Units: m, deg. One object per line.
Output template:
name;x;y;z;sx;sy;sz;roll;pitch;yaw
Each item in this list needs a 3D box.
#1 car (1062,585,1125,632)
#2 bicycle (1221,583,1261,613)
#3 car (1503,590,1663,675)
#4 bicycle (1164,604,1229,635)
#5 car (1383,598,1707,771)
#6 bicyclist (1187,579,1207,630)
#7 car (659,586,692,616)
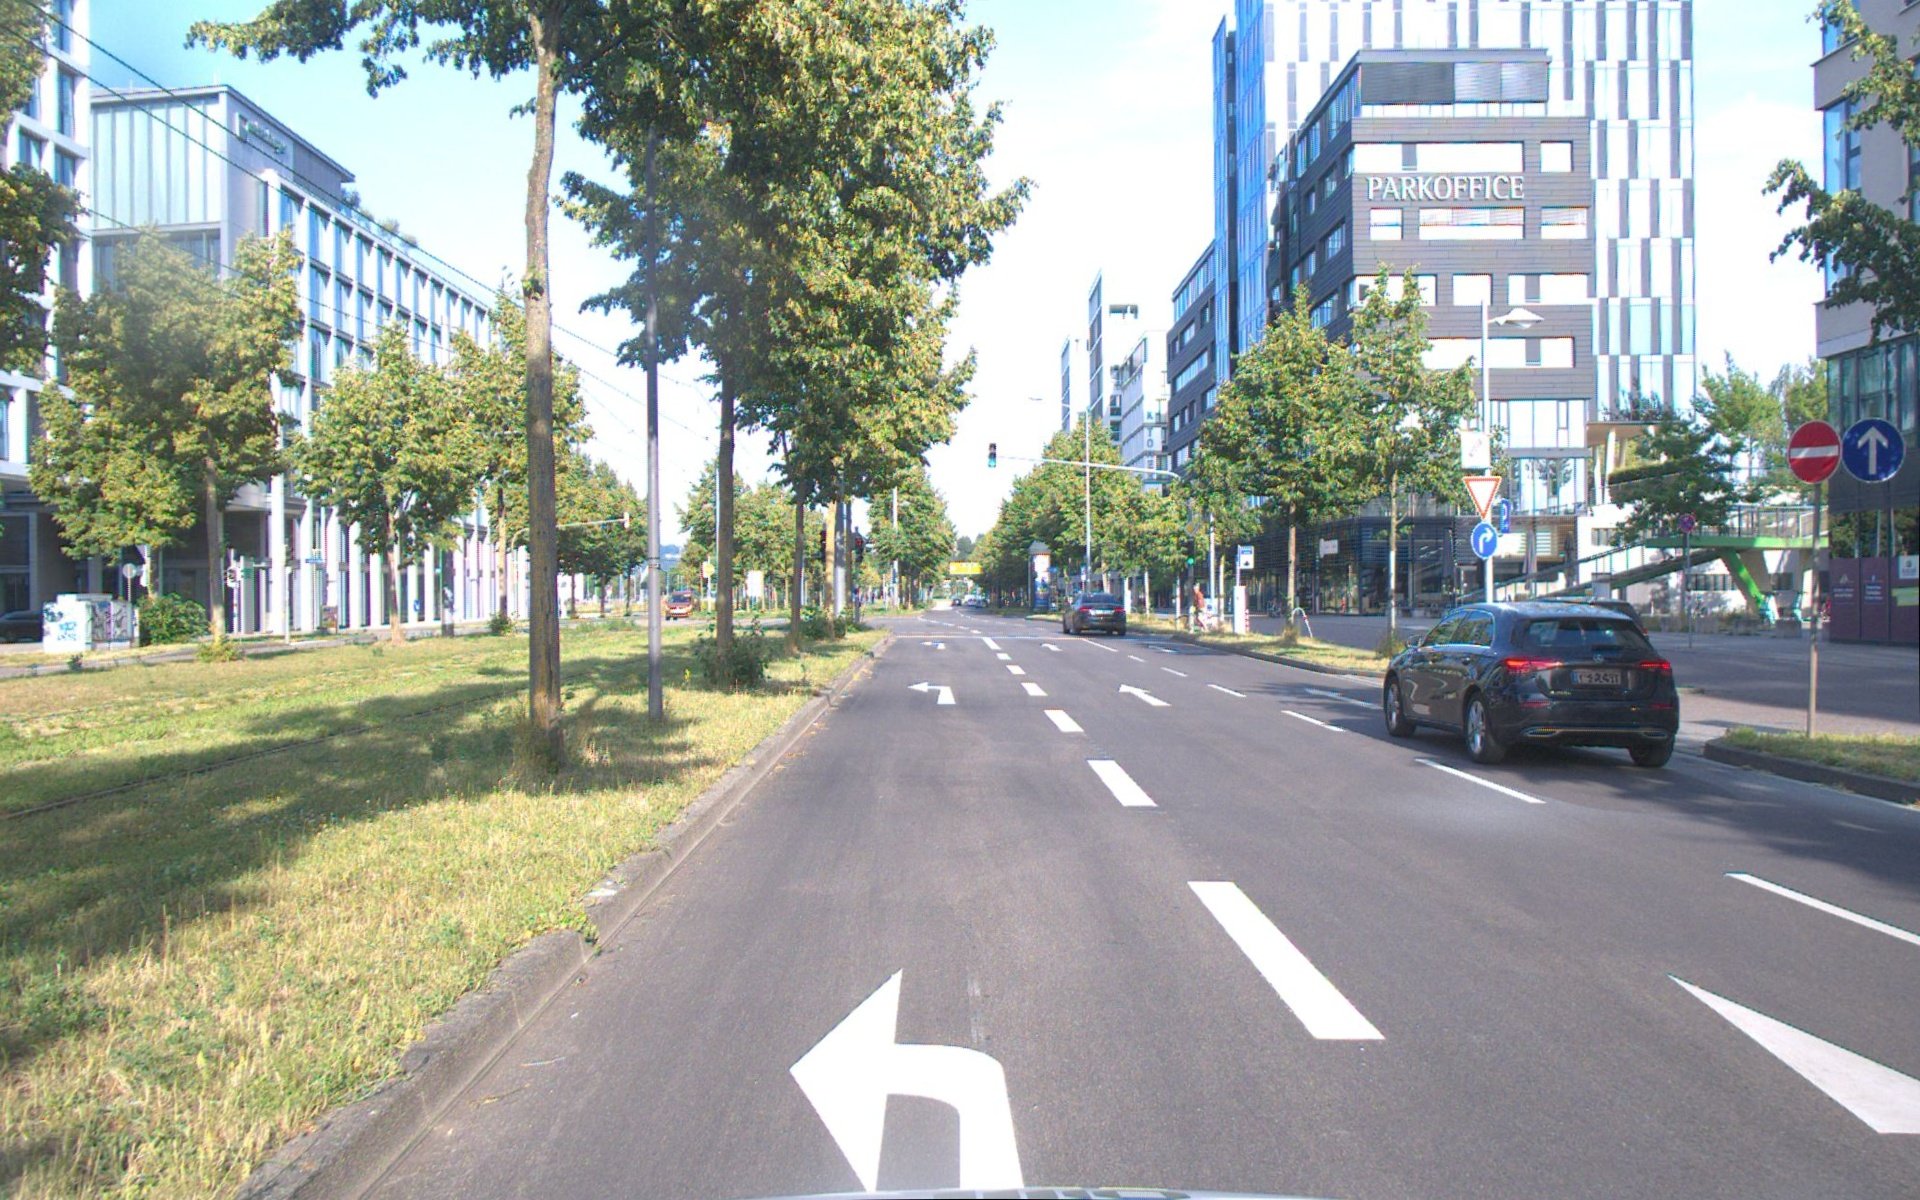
car;4.576;0.298;57.152;1.822;1.551;3.785;1;0;0
bicycle;17.461;-0.129;102.865;2.383;1.776;0.554;1;-1;9
car;11.140;0.559;29.857;1.573;1.394;4.159;1;0;4
bicycle;8.051;0.660;56.348;2.092;1.030;0.571;1;0;-5
car;5.528;0.731;16.174;1.738;1.449;3.960;1;0;0
bicyclist;8.062;0.148;56.347;0.563;1.737;0.540;1;-1;-3
car;-17.827;0.050;103.809;1.651;1.806;3.879;1;0;-4
